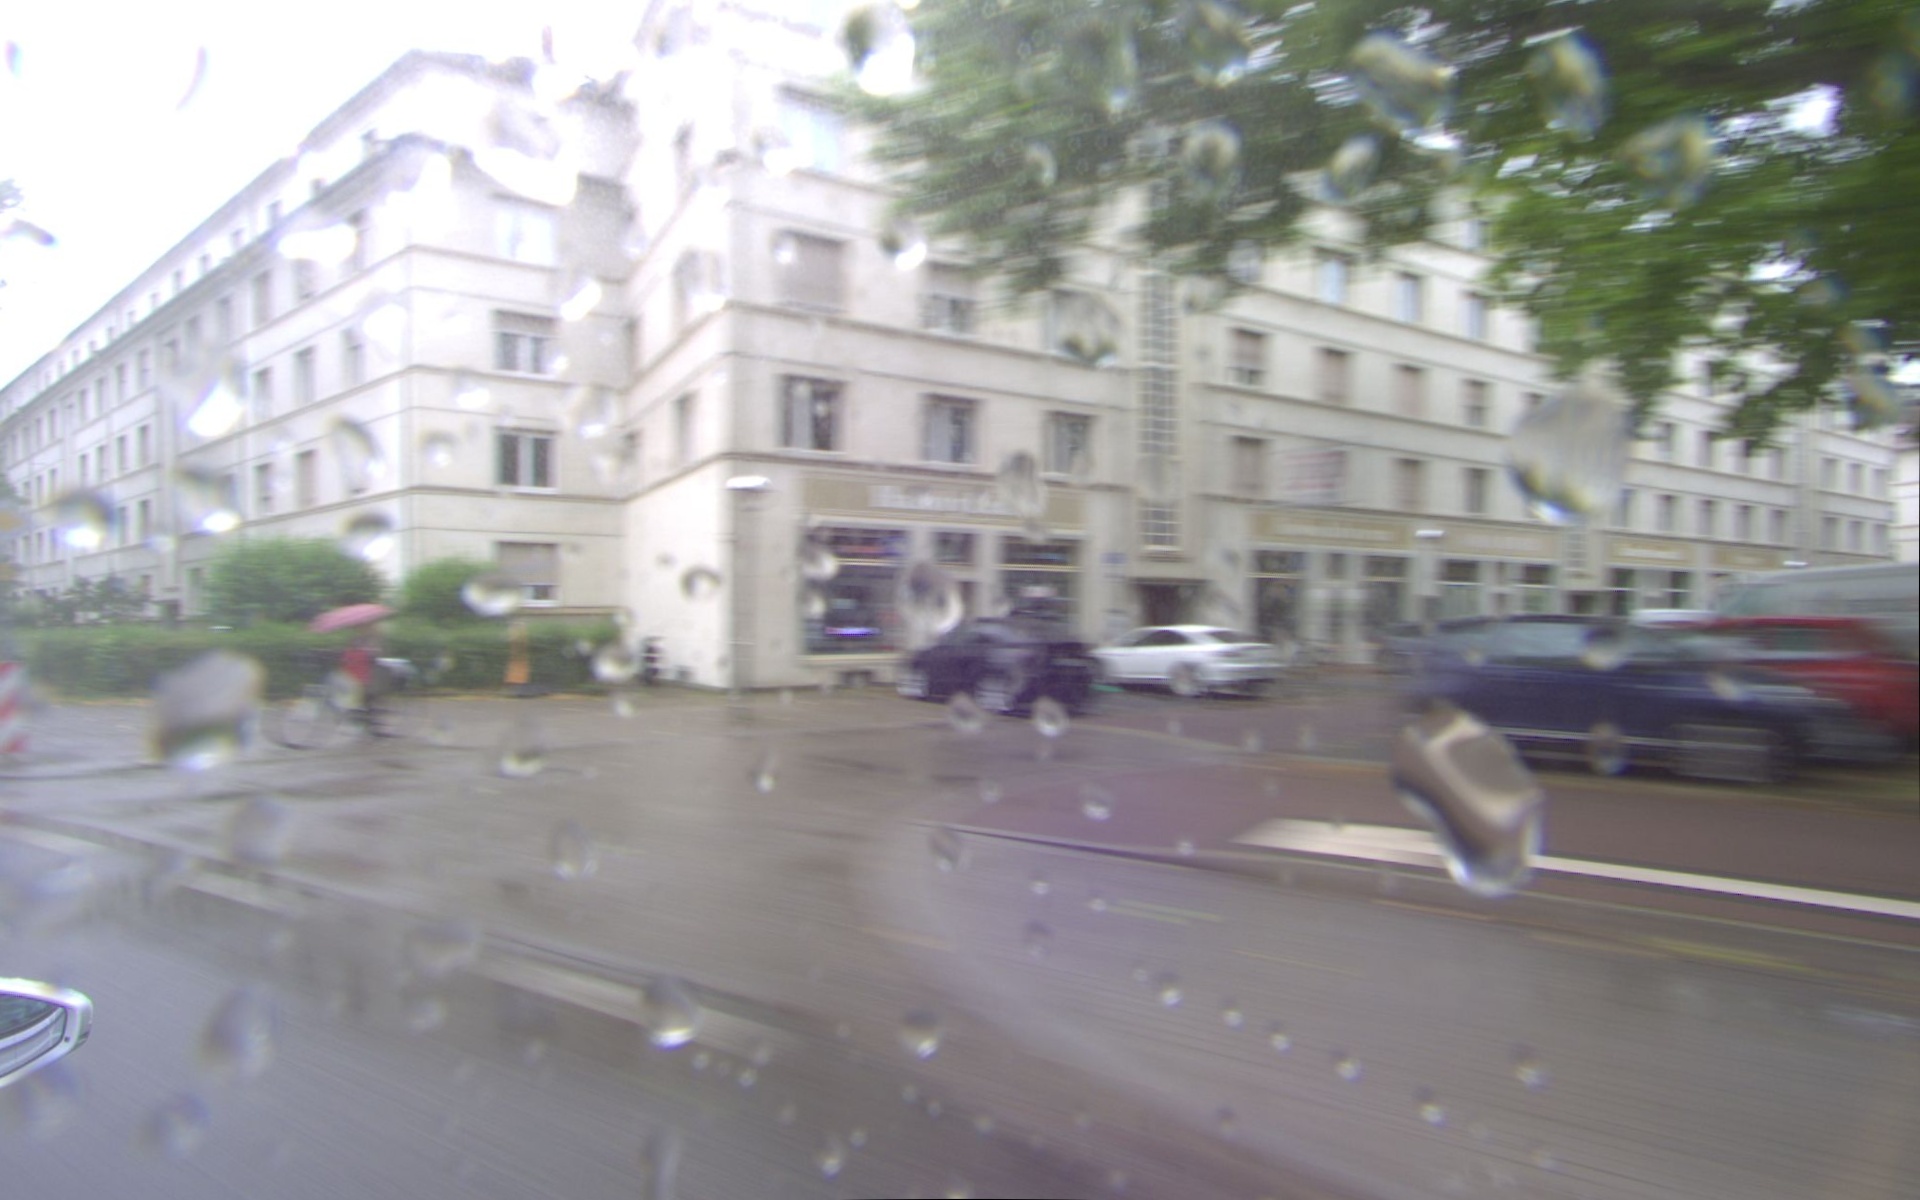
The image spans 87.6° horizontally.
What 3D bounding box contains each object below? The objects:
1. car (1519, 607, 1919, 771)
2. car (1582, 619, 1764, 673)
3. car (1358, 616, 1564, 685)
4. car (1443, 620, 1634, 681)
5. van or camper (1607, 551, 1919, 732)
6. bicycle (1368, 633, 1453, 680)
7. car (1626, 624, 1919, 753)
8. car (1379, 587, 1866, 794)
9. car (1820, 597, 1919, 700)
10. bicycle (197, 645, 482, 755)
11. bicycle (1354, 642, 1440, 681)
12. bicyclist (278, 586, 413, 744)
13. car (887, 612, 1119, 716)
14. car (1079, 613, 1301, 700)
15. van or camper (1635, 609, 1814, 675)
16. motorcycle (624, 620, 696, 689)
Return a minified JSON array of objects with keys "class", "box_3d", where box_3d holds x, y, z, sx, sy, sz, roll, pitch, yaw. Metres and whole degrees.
[{"class":"car","box_3d":[8.093,0.911,10.725,1.515,1.474,3.358,1,-4,-44]},{"class":"car","box_3d":[23.912,1.544,33.752,1.974,1.648,4.604,3,-3,-32]},{"class":"car","box_3d":[13.301,1.333,26.892,1.974,1.648,4.604,3,-3,-32]},{"class":"car","box_3d":[17.296,1.496,30.167,1.974,1.648,4.604,3,-3,-32]},{"class":"van or camper","box_3d":[12.543,0.548,14.016,2.368,2.260,5.407,0,-1,-27]},{"class":"bicycle","box_3d":[11.350,1.400,25.288,0.530,1.113,2.014,1,-1,-32]},{"class":"car","box_3d":[10.176,1.010,12.025,1.565,1.353,3.247,0,-3,-31]},{"class":"car","box_3d":[6.092,0.802,9.515,1.675,1.570,3.496,0,-4,-39]},{"class":"car","box_3d":[18.419,0.840,18.000,2.131,1.860,3.982,0,-3,-30]},{"class":"bicycle","box_3d":[-7.706,1.180,12.752,1.035,1.126,3.213,0,-1,16]},{"class":"bicycle","box_3d":[10.879,1.515,25.004,0.495,0.905,2.050,1,-1,-32]},{"class":"bicyclist","box_3d":[-7.699,0.788,12.578,1.122,1.892,0.940,0,0,17]},{"class":"car","box_3d":[0.625,1.130,18.345,1.974,1.648,4.604,3,-3,-32]},{"class":"car","box_3d":[4.795,1.187,21.538,1.974,1.648,4.604,3,-3,-32]},{"class":"van or camper","box_3d":[26.554,1.461,34.948,1.974,2.116,4.604,3,-3,-32]},{"class":"motorcycle","box_3d":[-6.718,1.173,22.302,0.866,1.410,2.990,0,-1,-30]}]
